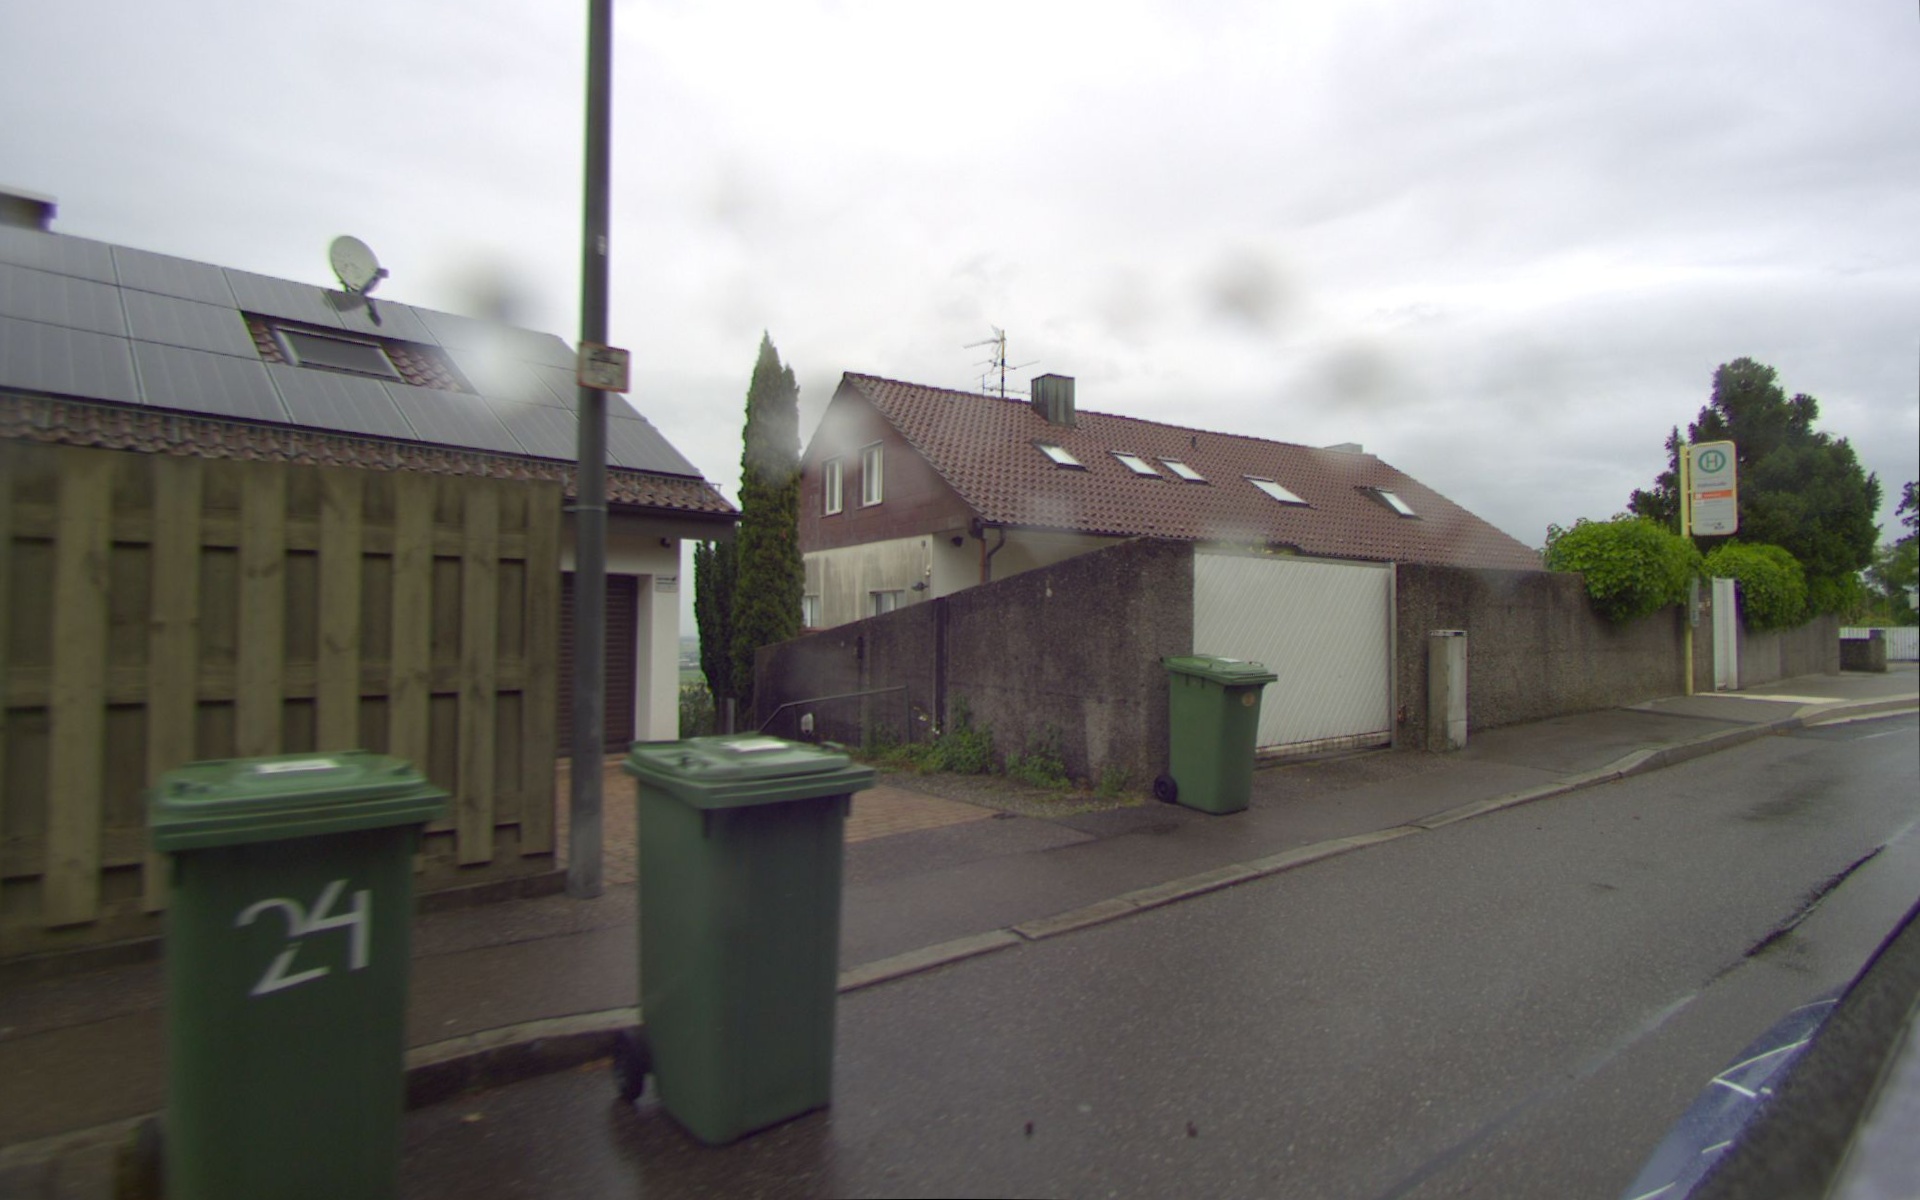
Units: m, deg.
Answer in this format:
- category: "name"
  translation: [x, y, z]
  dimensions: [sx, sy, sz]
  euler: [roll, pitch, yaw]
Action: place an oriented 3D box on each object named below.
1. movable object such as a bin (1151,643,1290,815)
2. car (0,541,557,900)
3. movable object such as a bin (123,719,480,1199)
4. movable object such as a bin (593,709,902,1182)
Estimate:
- category: "movable object such as a bin"
  translation: [1.860, 0.886, 7.262]
  dimensions: [0.588, 1.102, 0.741]
  euler: [1, 1, -35]
- category: "car"
  translation: [-4.796, 0.648, 6.026]
  dimensions: [4.316, 1.742, 2.003]
  euler: [-2, -3, -19]
- category: "movable object such as a bin"
  translation: [-1.633, 0.890, 2.494]
  dimensions: [0.649, 1.092, 0.730]
  euler: [1, -2, -40]
- category: "movable object such as a bin"
  translation: [-0.653, 0.929, 3.066]
  dimensions: [0.645, 1.110, 0.716]
  euler: [1, -2, -42]
